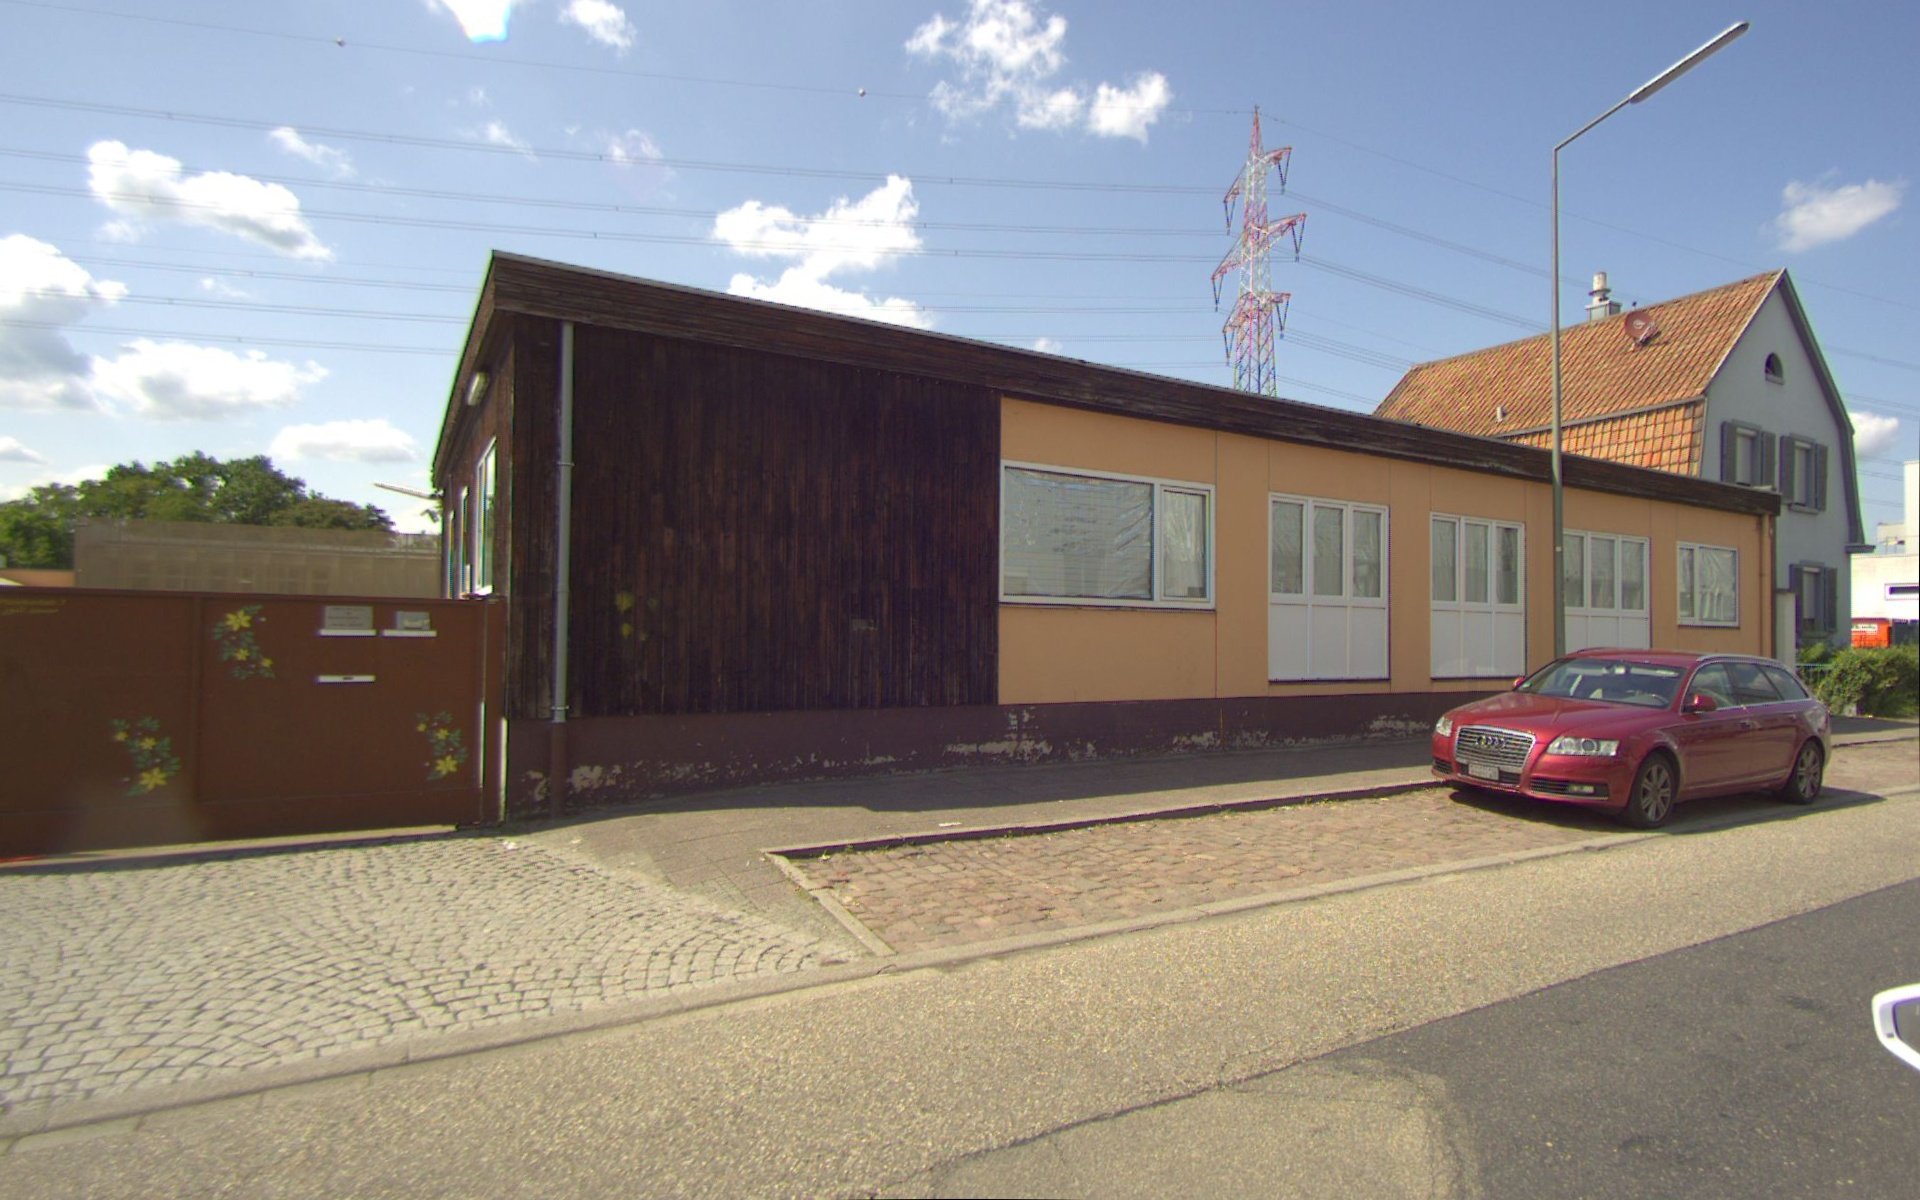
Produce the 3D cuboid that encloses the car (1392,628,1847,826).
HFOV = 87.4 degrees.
[{"bbox_3d":[6.518,1.117,9.791,4.685,1.467,1.753,3,0,-30],"label":"car"}]
